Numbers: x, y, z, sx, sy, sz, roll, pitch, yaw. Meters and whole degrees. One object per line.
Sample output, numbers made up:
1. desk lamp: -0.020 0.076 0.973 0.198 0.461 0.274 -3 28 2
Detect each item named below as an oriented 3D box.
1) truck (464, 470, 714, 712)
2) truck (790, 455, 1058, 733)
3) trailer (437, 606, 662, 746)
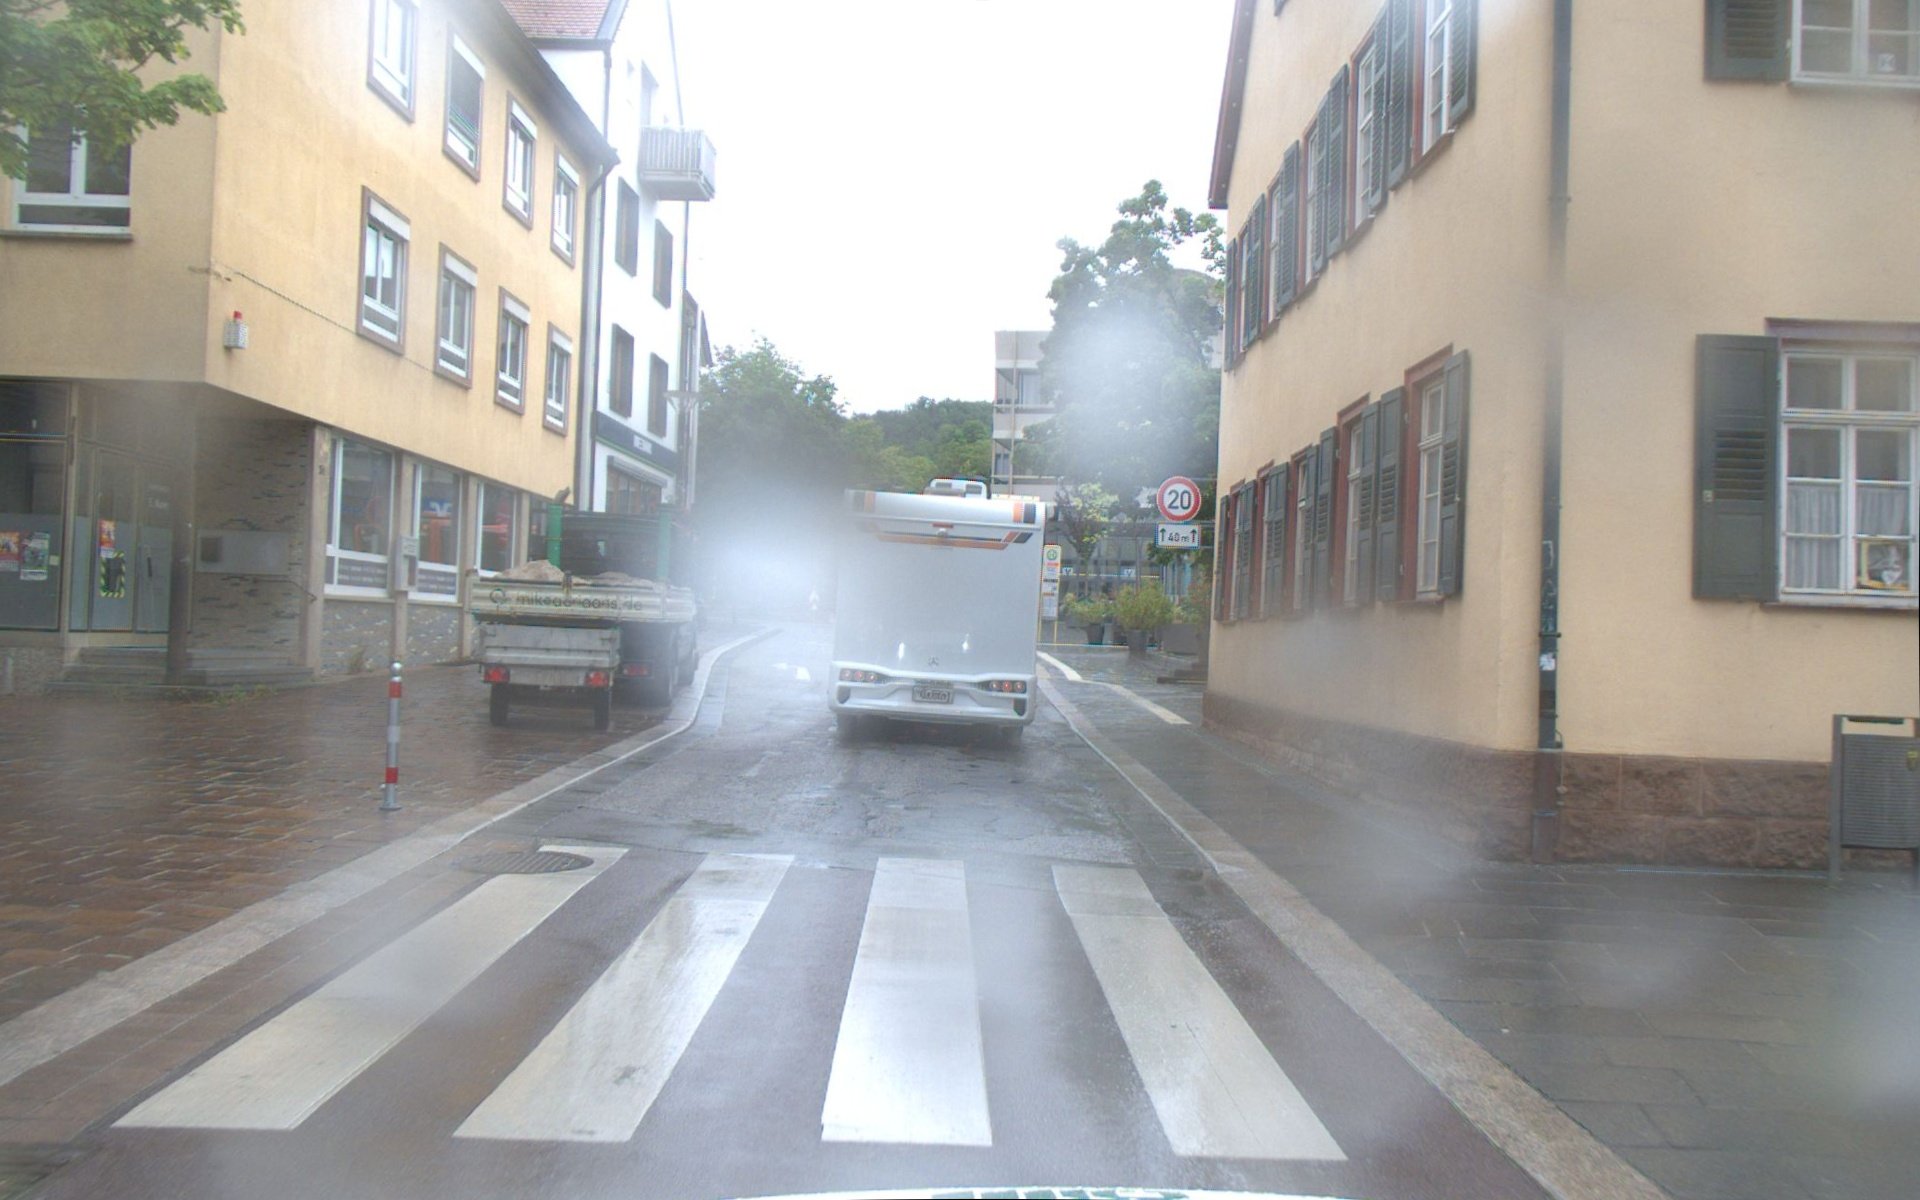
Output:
1. truck: -4.637 -0.207 21.780 2.353 2.639 6.476 2 2 -6
2. truck: -0.413 -0.032 20.173 2.749 2.846 6.105 1 -1 -1
3. trailer: -4.130 0.724 17.070 1.817 1.144 3.016 2 2 -6
